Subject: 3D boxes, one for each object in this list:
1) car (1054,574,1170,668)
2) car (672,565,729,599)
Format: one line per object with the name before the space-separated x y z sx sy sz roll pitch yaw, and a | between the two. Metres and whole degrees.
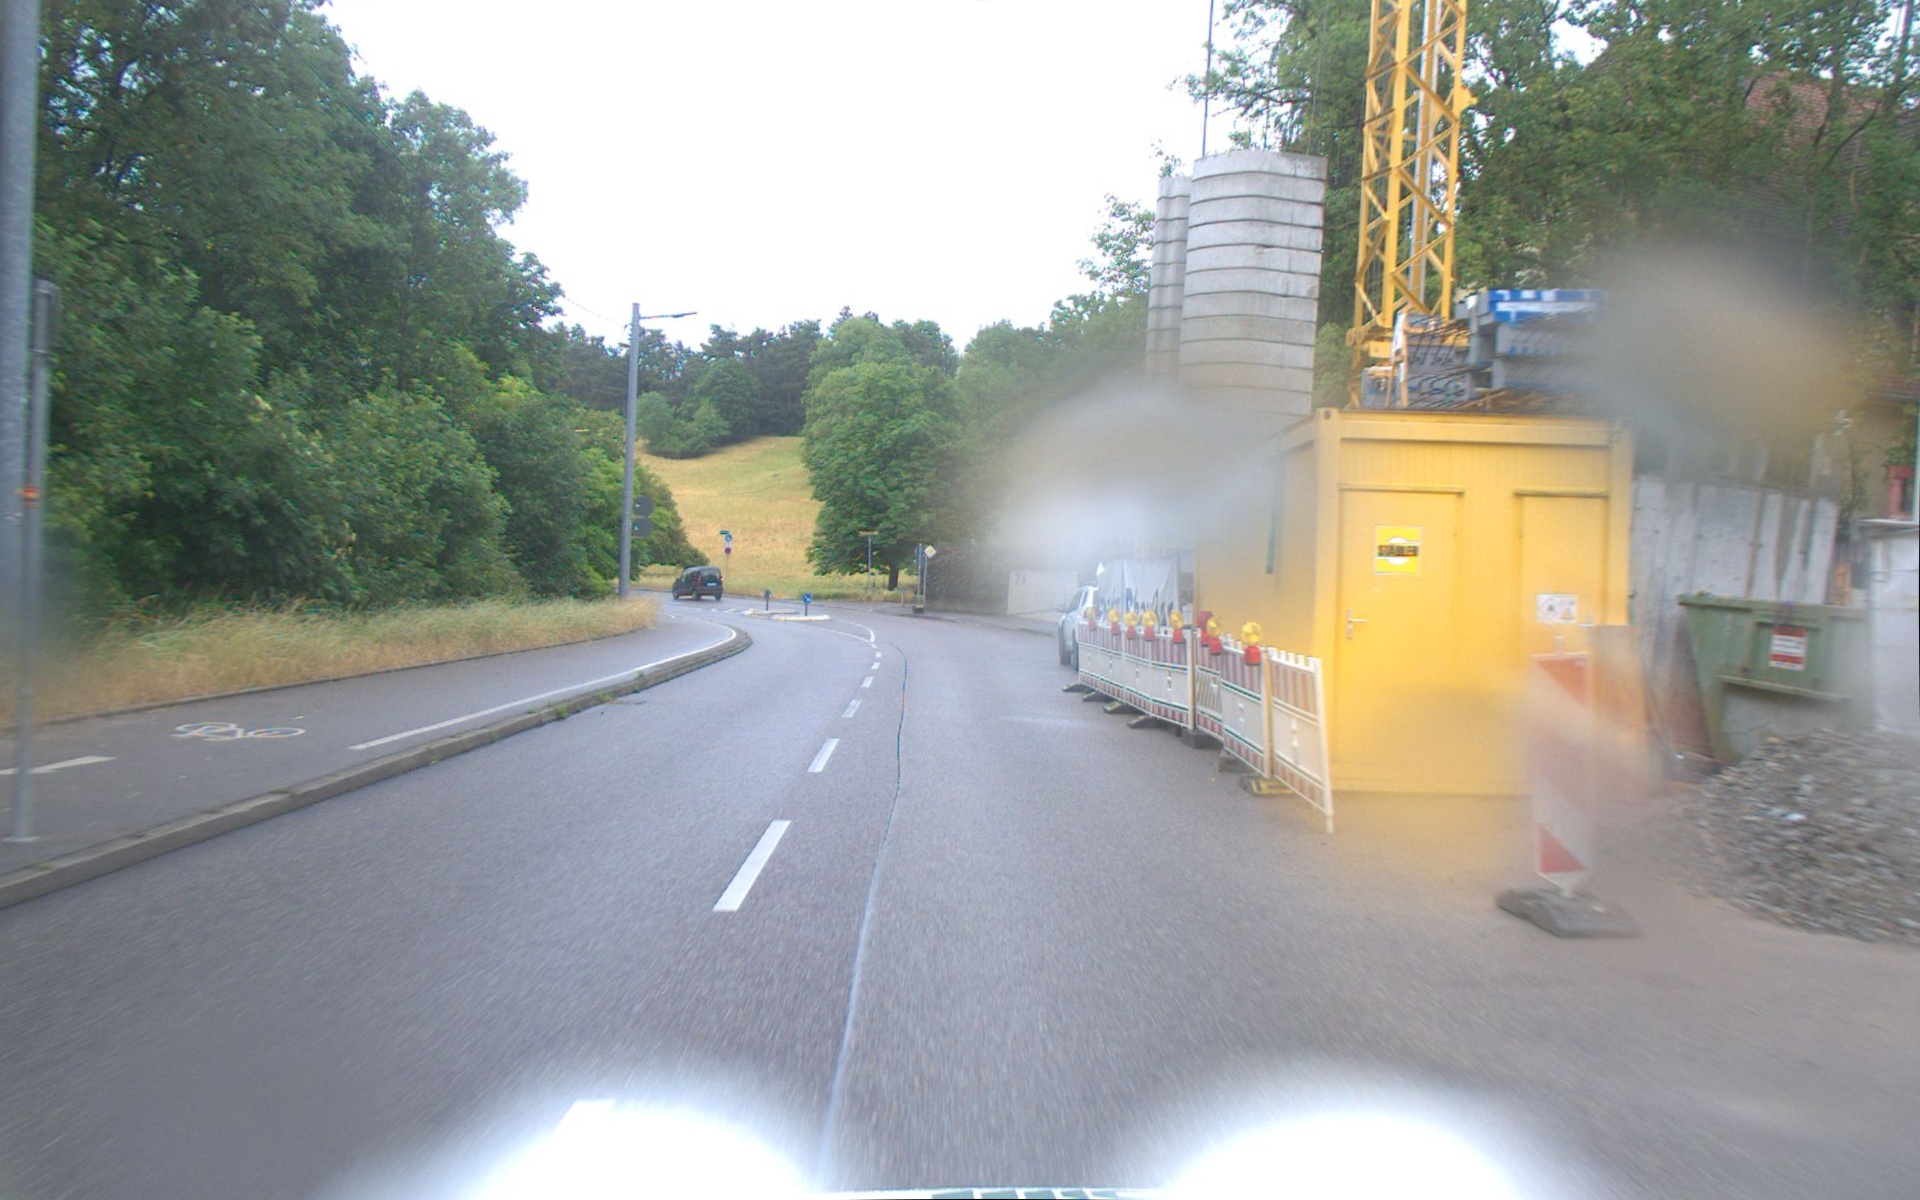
car | 2.939 0.377 32.862 1.710 1.735 4.500 0 1 -3
car | -14.553 -1.016 92.713 1.910 1.782 3.962 2 0 -29
